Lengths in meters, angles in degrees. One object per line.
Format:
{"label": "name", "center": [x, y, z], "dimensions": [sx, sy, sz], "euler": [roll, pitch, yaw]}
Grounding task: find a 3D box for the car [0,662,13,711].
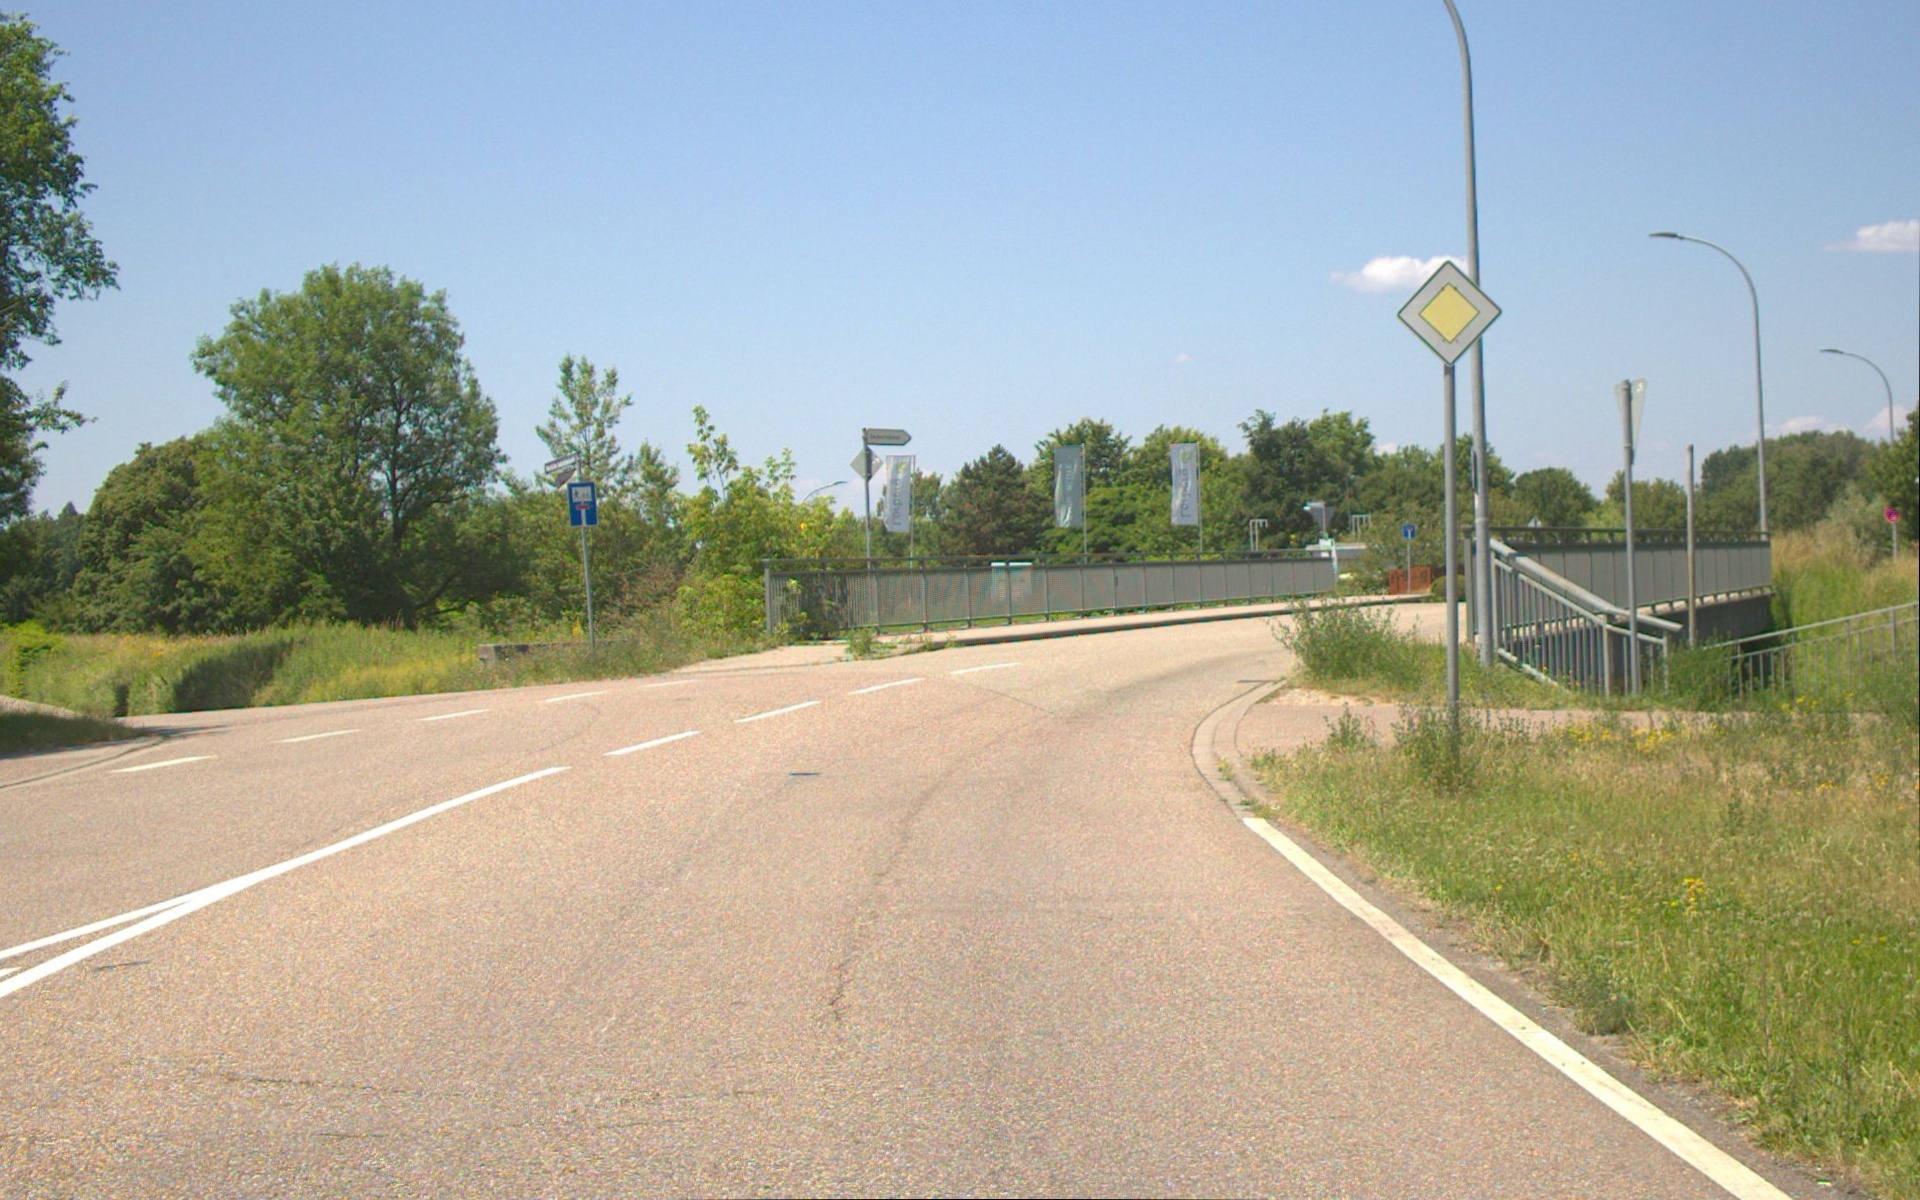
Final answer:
{"label": "car", "center": [-32.969, 2.908, 114.714], "dimensions": [1.993, 1.590, 4.000], "euler": [-3, 0, -24]}
